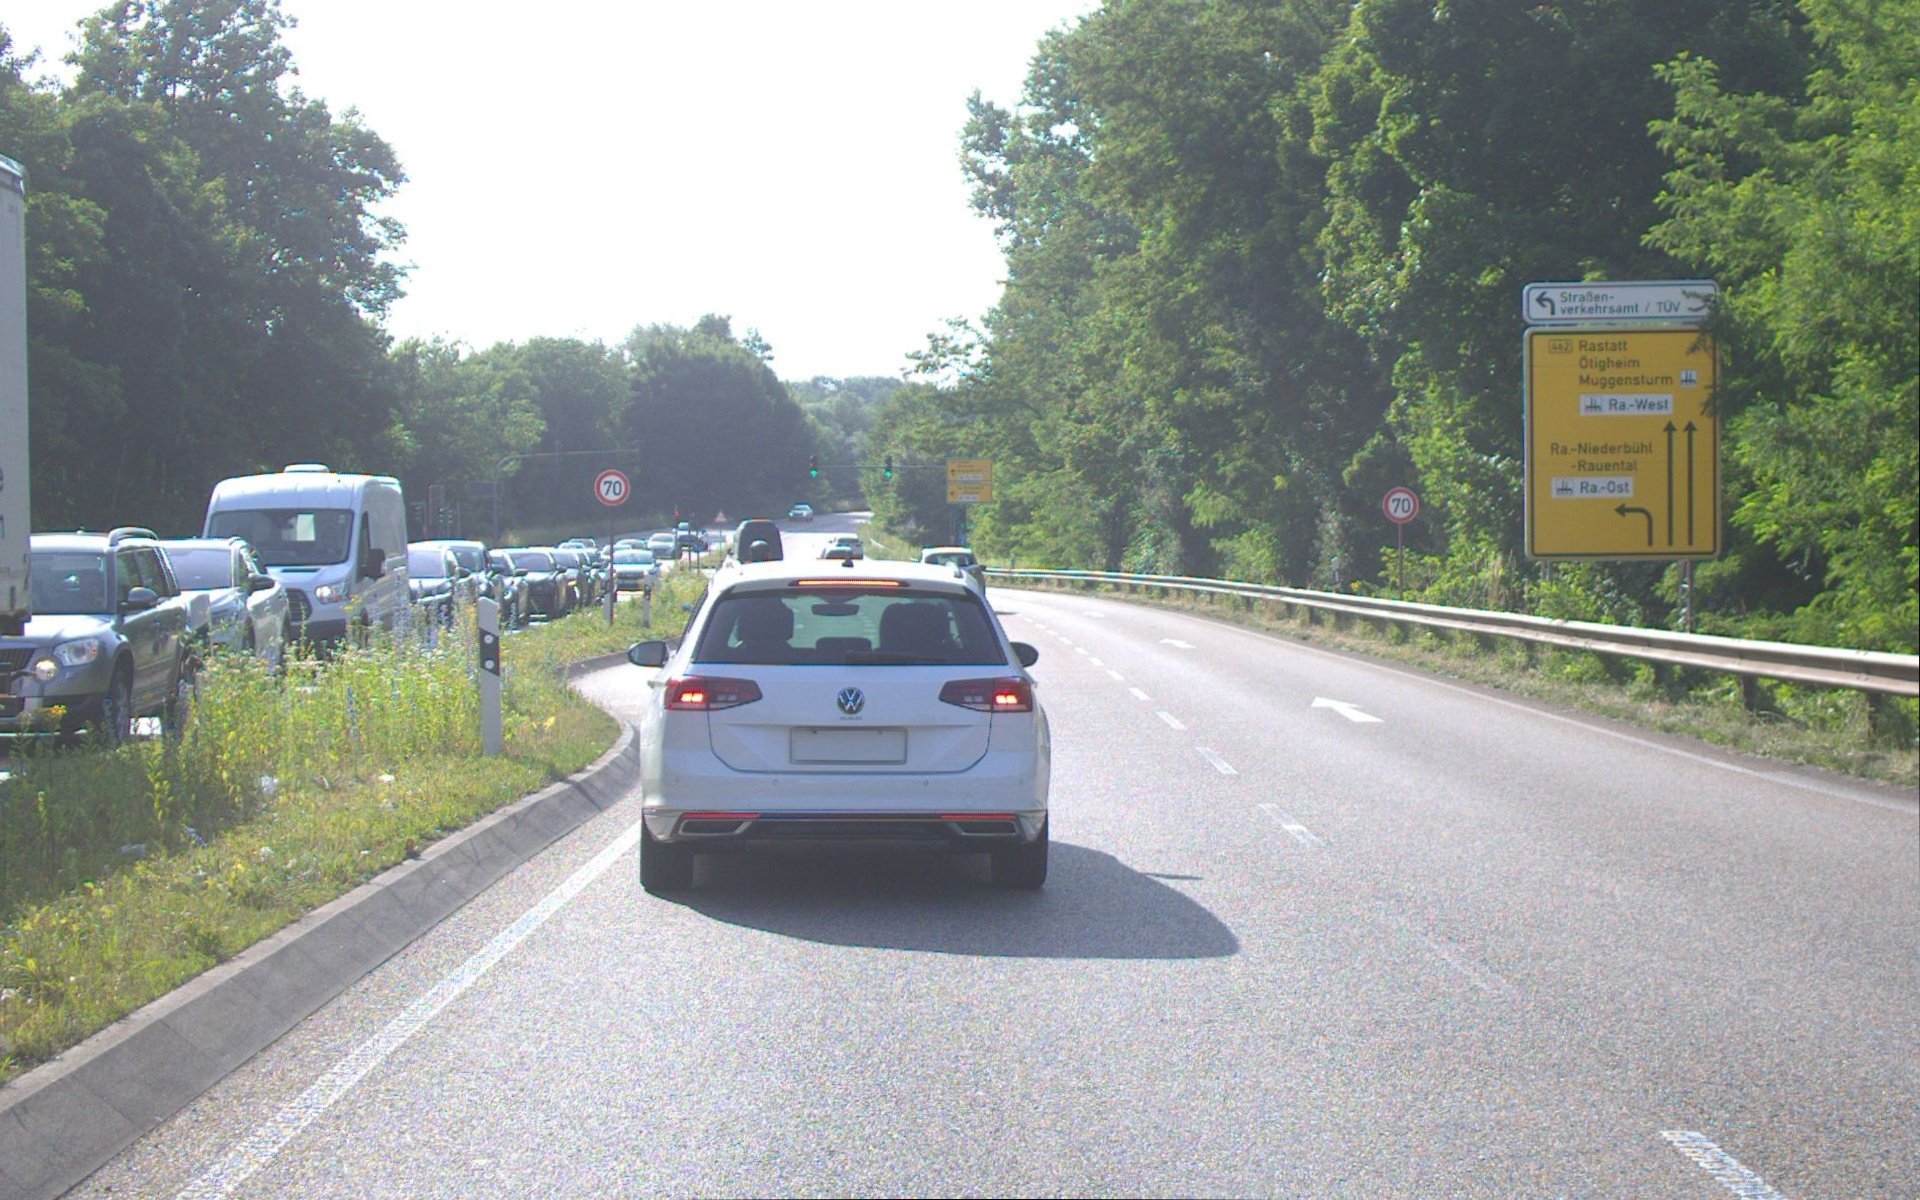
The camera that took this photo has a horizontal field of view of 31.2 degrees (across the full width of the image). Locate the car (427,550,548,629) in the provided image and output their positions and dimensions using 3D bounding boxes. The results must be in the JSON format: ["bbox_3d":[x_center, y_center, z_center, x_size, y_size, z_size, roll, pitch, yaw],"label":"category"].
[{"bbox_3d":[-8.873,-0.225,64.843,1.771,1.375,4.844,-1,1,-2],"label":"car"}]

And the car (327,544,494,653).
[{"bbox_3d":[-7.932,-0.062,50.047,1.760,1.451,5.186,-1,1,-2],"label":"car"}]

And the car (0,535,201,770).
[{"bbox_3d":[-7.017,0.332,26.231,1.700,1.626,4.371,-1,1,-3],"label":"car"}]

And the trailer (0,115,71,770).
[{"bbox_3d":[-7.066,-0.858,15.967,2.991,3.982,14.016,0,1,-3],"label":"trailer"}]

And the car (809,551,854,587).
[{"bbox_3d":[-5.857,-1.430,156.714,1.744,1.532,3.927,2,1,-6],"label":"car"}]

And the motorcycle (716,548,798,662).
[{"bbox_3d":[-2.783,0.049,47.365,0.909,1.448,2.689,-3,1,0],"label":"motorcycle"}]

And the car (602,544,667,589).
[{"bbox_3d":[-10.811,-1.134,114.440,1.867,1.412,4.416,-1,1,-2],"label":"car"}]

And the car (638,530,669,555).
[{"bbox_3d":[-18.271,-3.462,205.134,1.788,1.406,4.228,2,1,-5],"label":"car"}]

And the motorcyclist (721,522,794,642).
[{"bbox_3d":[-2.795,-0.252,47.471,0.883,1.610,1.290,2,1,0],"label":"motorcyclist"}]

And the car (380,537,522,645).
[{"bbox_3d":[-8.367,-0.186,56.837,1.771,1.663,4.801,-1,1,-2],"label":"car"}]

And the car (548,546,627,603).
[{"bbox_3d":[-9.838,-0.695,91.025,1.767,1.412,4.434,-1,1,-2],"label":"car"}]

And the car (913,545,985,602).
[{"bbox_3d":[-0.297,-0.703,88.496,1.761,1.375,3.972,1,1,-1],"label":"car"}]

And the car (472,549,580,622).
[{"bbox_3d":[-9.064,-0.335,72.123,1.771,1.418,5.193,-1,1,-2],"label":"car"}]

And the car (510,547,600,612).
[{"bbox_3d":[-9.298,-0.493,79.118,1.706,1.418,4.212,-1,1,-2],"label":"car"}]

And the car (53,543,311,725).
[{"bbox_3d":[-7.574,0.273,33.871,1.700,1.626,4.748,-1,1,-3],"label":"car"}]

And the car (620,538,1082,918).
[{"bbox_3d":[-0.580,0.486,16.519,1.870,1.516,4.835,1,1,-3],"label":"car"}]

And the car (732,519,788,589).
[{"bbox_3d":[-8.484,-2.000,146.314,2.209,2.878,7.012,-1,1,-2],"label":"car"}]

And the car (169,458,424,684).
[{"bbox_3d":[-7.944,-0.393,41.779,2.075,2.525,6.164,-1,1,-2],"label":"car"}]
